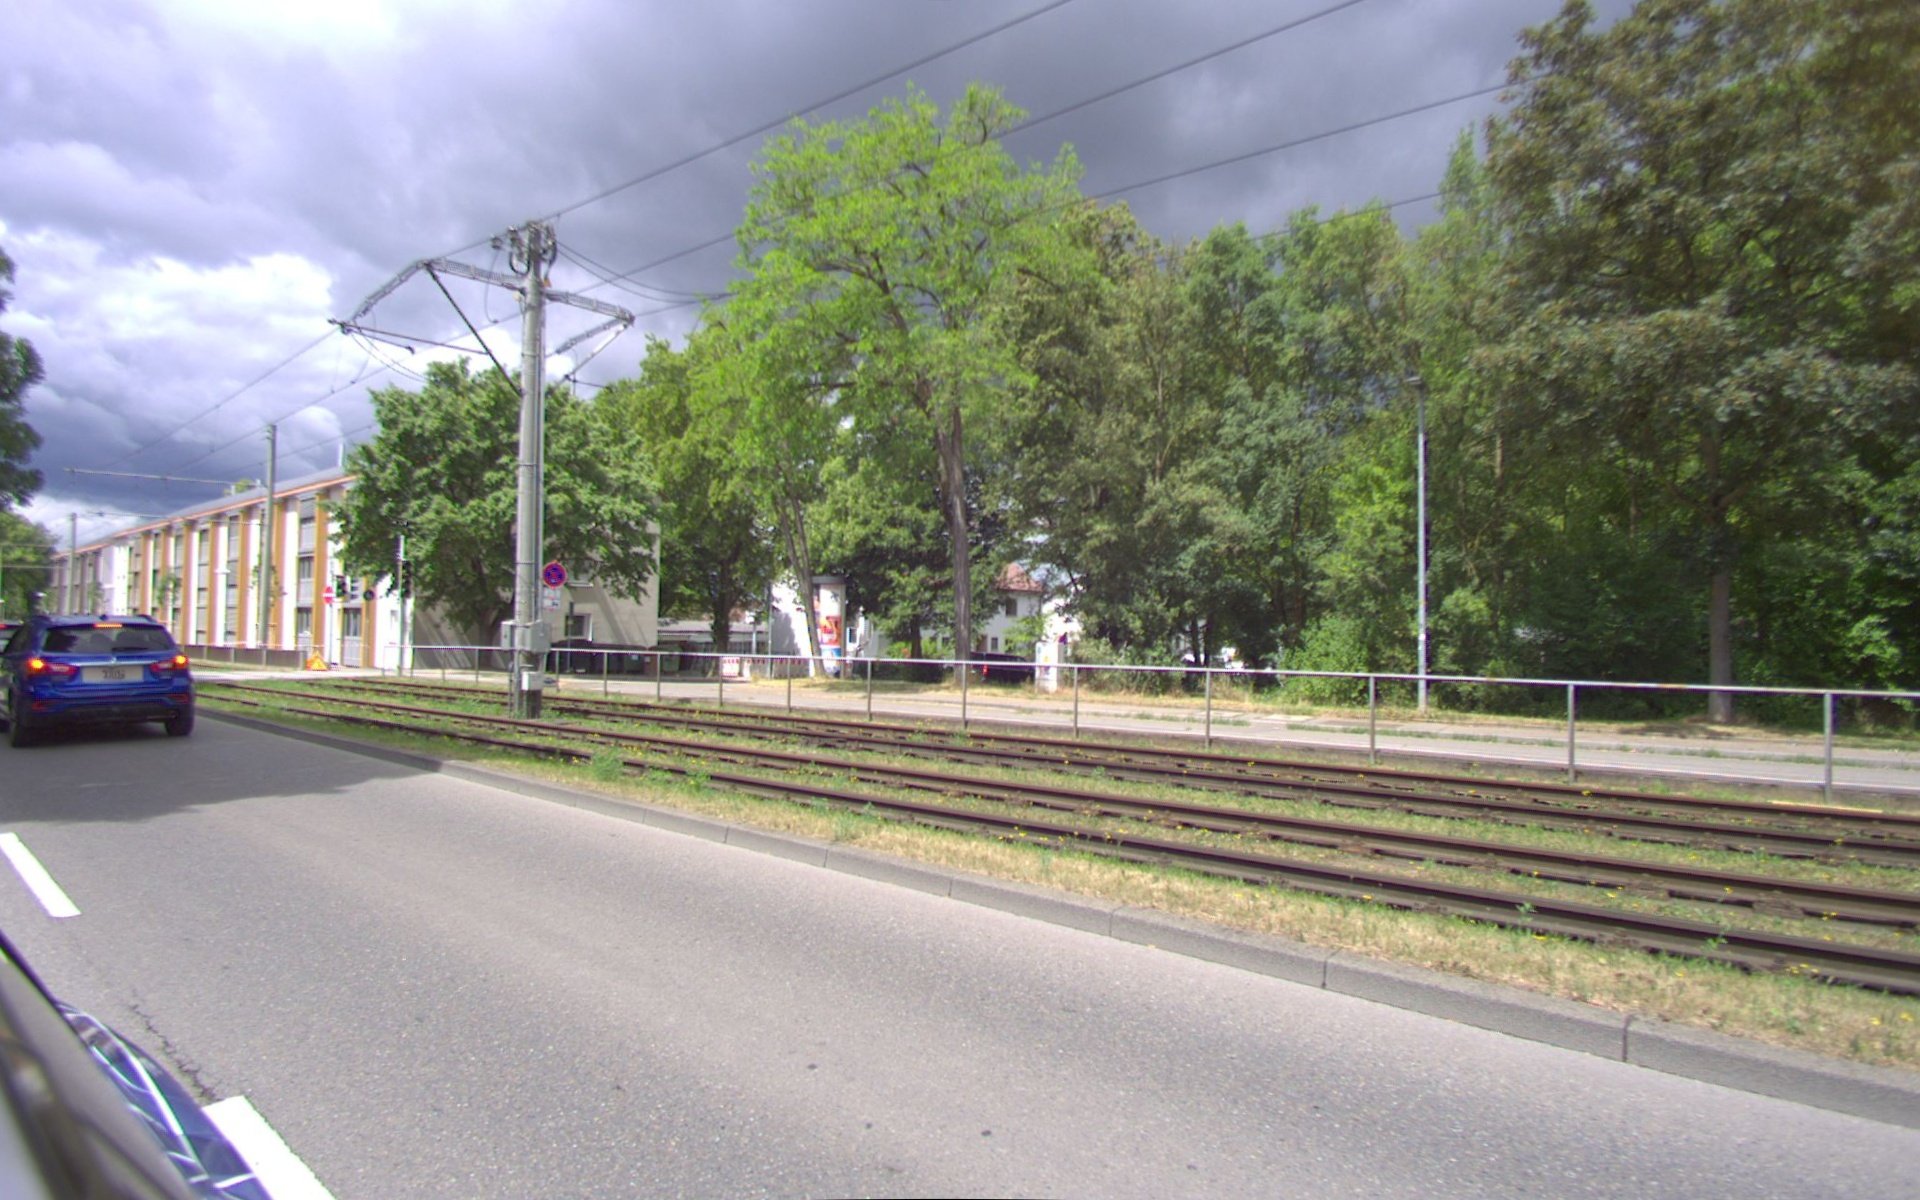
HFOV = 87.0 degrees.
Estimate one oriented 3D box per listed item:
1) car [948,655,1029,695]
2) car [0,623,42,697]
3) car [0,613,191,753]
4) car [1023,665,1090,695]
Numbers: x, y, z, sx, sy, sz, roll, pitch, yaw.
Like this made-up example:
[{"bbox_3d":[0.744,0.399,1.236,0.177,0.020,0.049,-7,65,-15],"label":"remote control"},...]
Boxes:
[{"bbox_3d":[1.496,3.861,51.978,2.000,1.873,3.944,-1,-4,42],"label":"car"},{"bbox_3d":[-21.909,1.335,22.524,3.997,1.556,1.699,-2,-2,41],"label":"car"},{"bbox_3d":[-11.873,1.008,13.559,4.164,1.578,1.695,-2,-1,41],"label":"car"},{"bbox_3d":[5.438,4.467,56.807,1.853,1.500,3.946,-1,-2,40],"label":"car"}]
